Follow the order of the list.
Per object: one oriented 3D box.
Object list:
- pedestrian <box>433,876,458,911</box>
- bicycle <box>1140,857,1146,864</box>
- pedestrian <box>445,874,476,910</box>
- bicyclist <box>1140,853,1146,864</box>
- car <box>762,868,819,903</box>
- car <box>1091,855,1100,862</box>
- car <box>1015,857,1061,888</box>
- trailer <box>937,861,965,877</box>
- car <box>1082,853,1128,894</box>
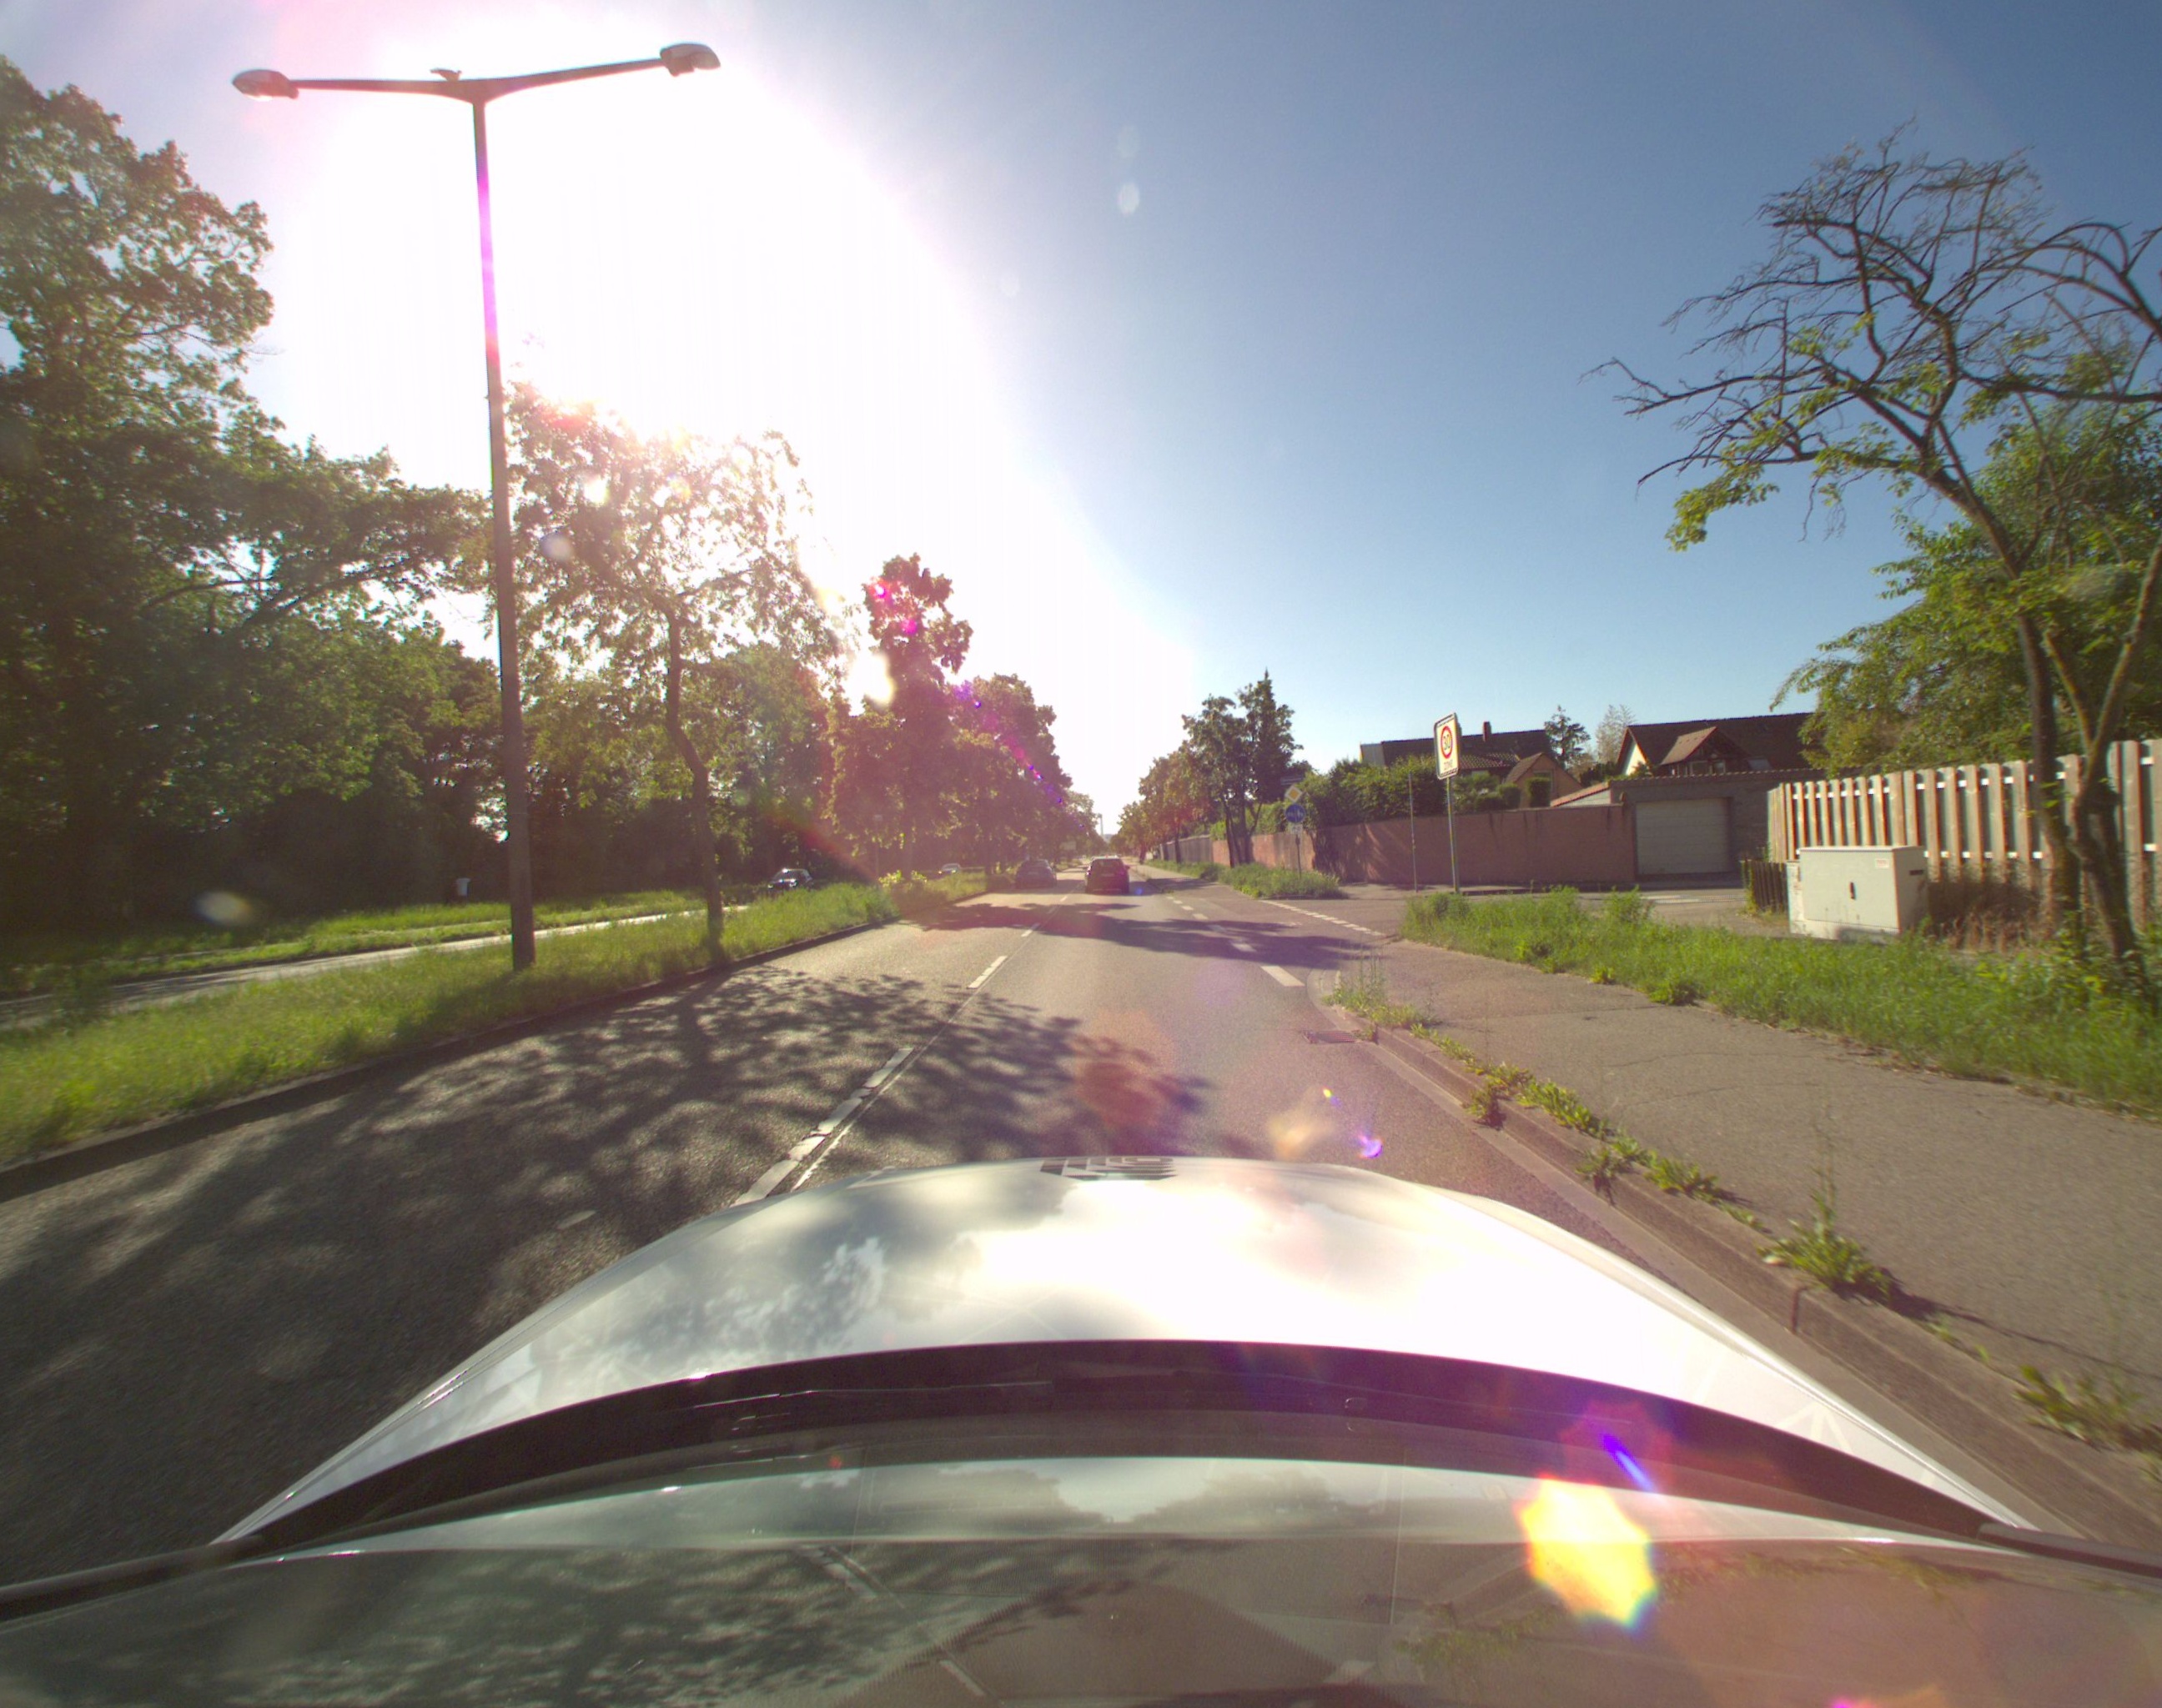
[{"bbox_3d":[-26.872,1.665,34.458,0.542,1.460,0.596,-2,0,2],"label":"pedestrian"},{"bbox_3d":[7.782,0.826,102.703,0.653,0.892,1.875,-2,0,2],"label":"bicycle"},{"bbox_3d":[-26.102,1.581,34.271,0.542,1.460,0.917,-2,0,2],"label":"pedestrian"},{"bbox_3d":[7.793,0.547,102.670,0.677,1.418,0.812,-2,0,2],"label":"bicyclist"},{"bbox_3d":[-14.735,1.572,41.447,1.710,1.505,3.015,-4,0,-1],"label":"car"},{"bbox_3d":[3.313,1.092,187.028,1.973,1.440,3.997,-2,1,-2],"label":"car"},{"bbox_3d":[-2.147,0.913,41.522,1.988,1.405,4.001,-2,0,1],"label":"car"},{"bbox_3d":[-12.735,1.458,80.158,1.734,1.424,4.499,-4,0,2],"label":"trailer"},{"bbox_3d":[1.048,0.742,33.322,1.753,1.559,4.003,-1,0,3],"label":"car"}]
